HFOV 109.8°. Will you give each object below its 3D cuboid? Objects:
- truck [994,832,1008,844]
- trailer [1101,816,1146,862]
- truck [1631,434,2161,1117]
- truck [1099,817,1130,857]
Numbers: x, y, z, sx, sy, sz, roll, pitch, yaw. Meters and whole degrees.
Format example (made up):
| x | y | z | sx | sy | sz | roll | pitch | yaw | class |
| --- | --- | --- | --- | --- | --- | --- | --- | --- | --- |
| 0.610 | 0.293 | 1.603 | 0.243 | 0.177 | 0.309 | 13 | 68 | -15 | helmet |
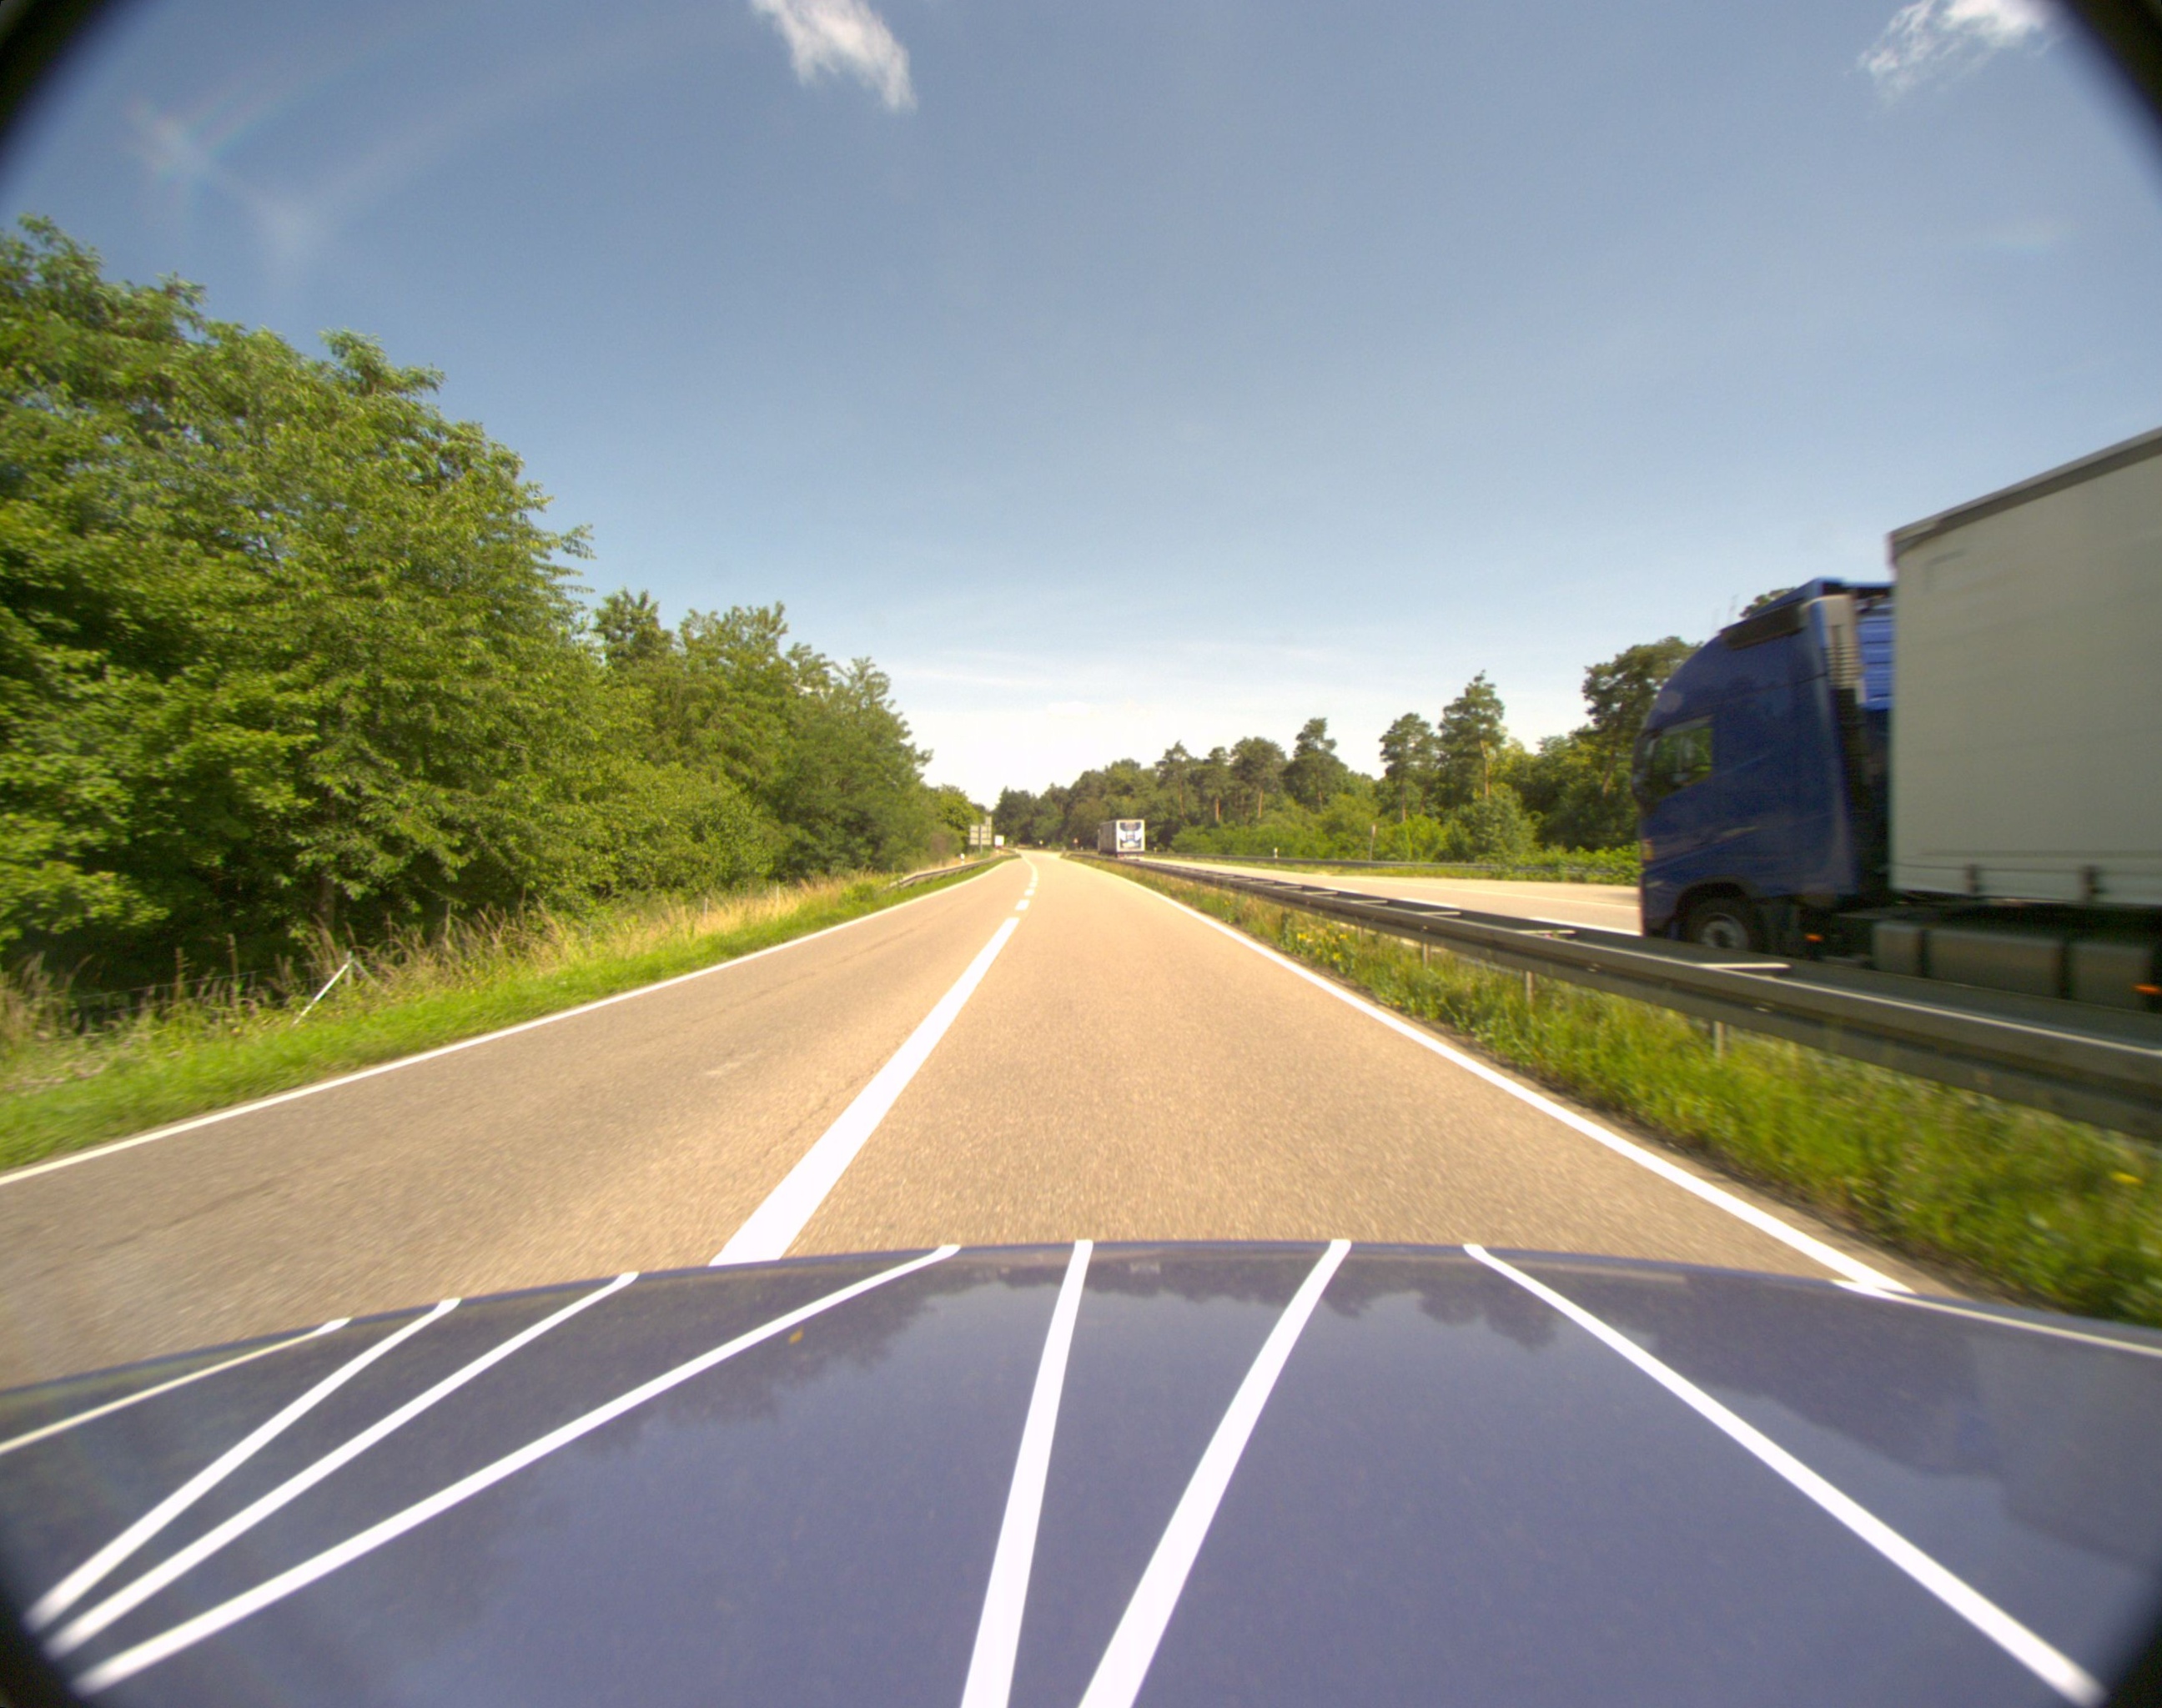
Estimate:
| x | y | z | sx | sy | sz | roll | pitch | yaw | class |
| --- | --- | --- | --- | --- | --- | --- | --- | --- | --- |
| -26.780 | -5.397 | 254.646 | 2.793 | 3.854 | 14.128 | -2 | 1 | -13 | truck |
| 4.100 | -1.432 | 76.301 | 2.676 | 4.164 | 14.055 | -1 | 1 | -4 | trailer |
| 7.947 | -0.512 | 6.212 | 2.775 | 4.163 | 5.596 | -1 | 1 | -1 | truck |
| 3.605 | -1.777 | 82.876 | 2.676 | 4.164 | 5.711 | -1 | 1 | -4 | truck |
